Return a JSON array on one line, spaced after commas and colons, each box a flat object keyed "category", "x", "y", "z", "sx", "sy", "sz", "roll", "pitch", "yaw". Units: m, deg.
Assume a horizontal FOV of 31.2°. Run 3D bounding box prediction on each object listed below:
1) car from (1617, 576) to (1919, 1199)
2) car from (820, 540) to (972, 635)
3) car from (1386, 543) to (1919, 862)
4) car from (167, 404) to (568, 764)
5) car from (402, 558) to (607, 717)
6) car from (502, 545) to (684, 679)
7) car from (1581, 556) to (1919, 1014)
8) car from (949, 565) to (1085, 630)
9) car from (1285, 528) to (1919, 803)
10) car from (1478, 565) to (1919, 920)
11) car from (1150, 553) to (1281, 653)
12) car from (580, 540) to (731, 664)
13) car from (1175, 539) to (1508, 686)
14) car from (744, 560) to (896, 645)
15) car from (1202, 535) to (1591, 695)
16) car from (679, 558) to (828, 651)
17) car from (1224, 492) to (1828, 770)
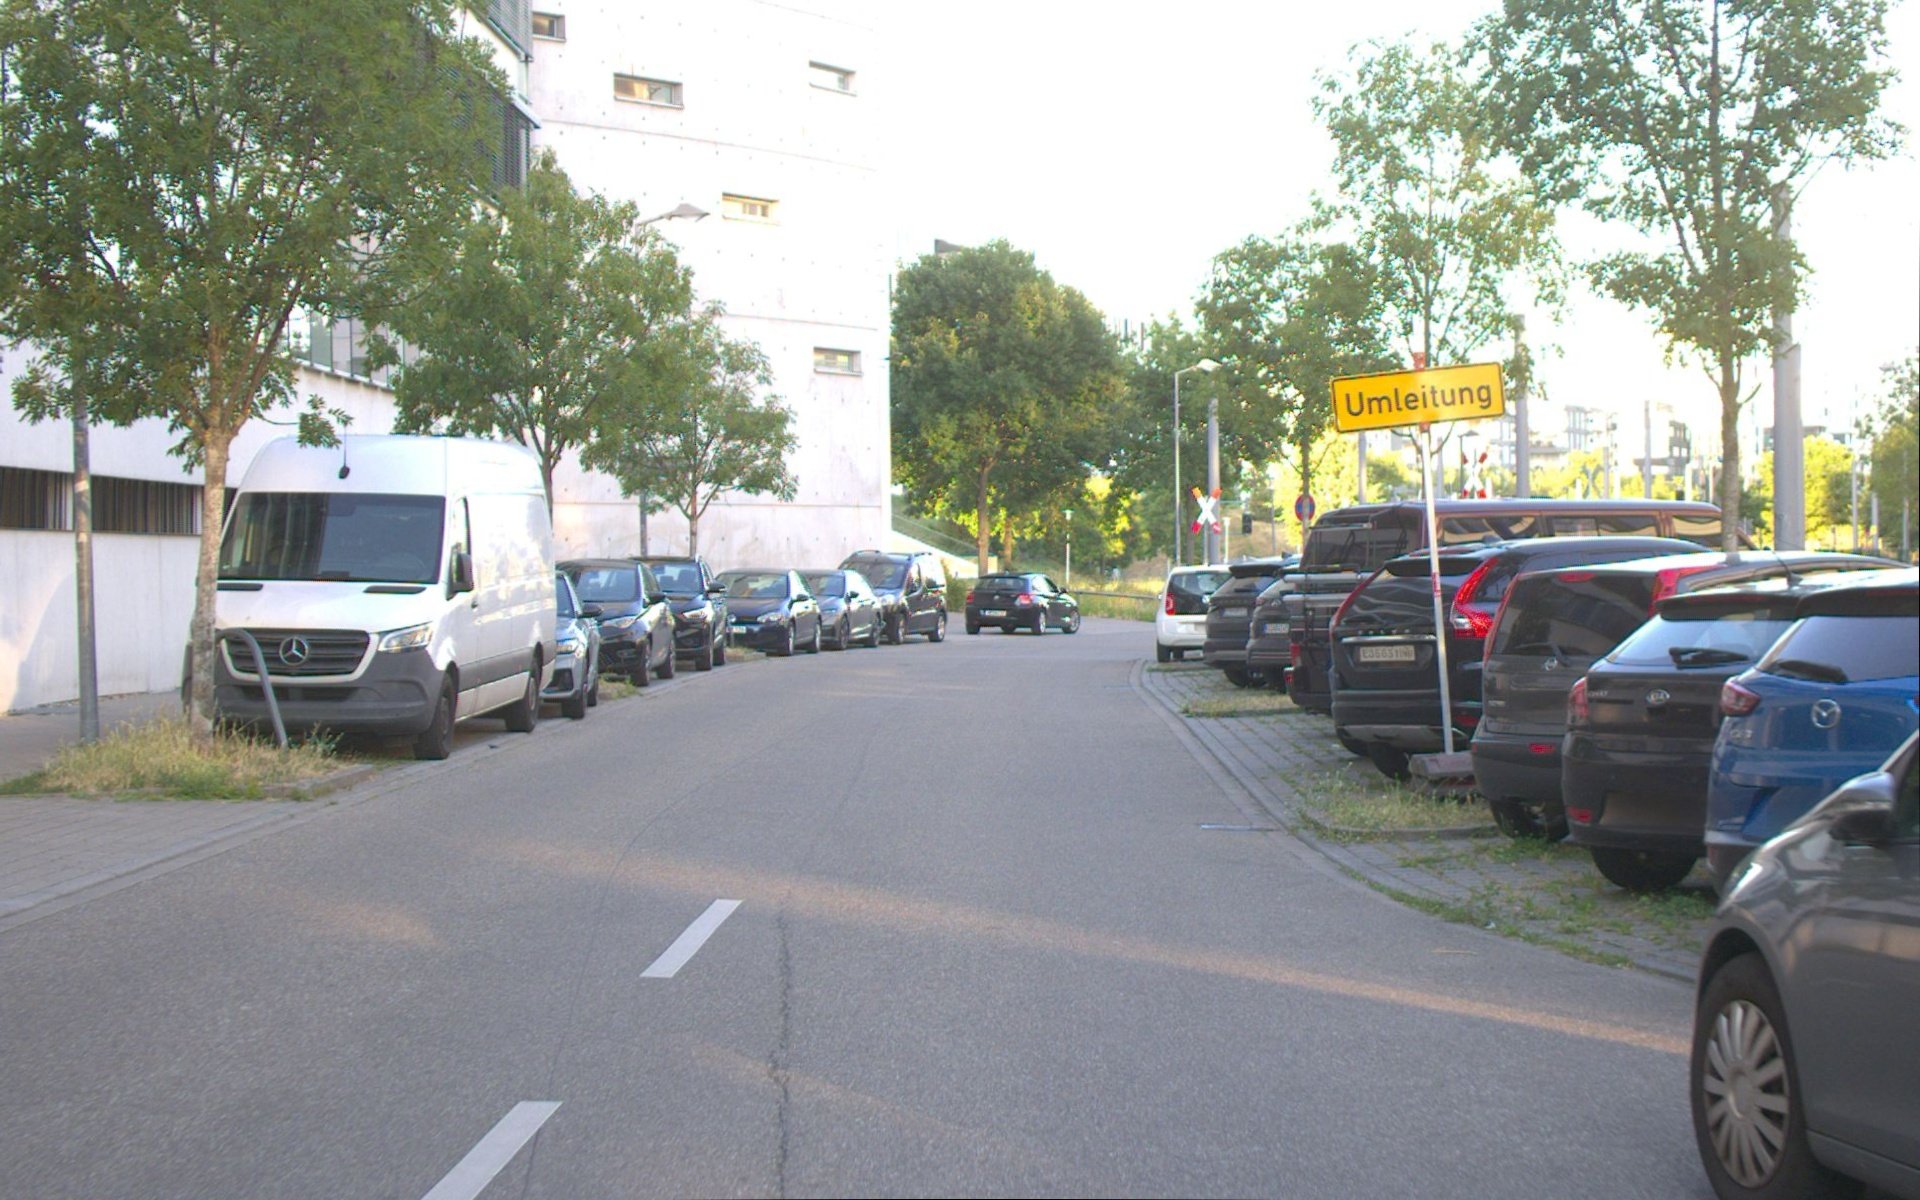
[{"category": "car", "x": 2.752, "y": 0.707, "z": 6.524, "sx": 1.731, "sy": 1.461, "sz": 4.001, "roll": 1, "pitch": 0, "yaw": -8}, {"category": "car", "x": -1.240, "y": -0.281, "z": 69.144, "sx": 1.758, "sy": 1.792, "sz": 4.460, "roll": 2, "pitch": 1, "yaw": 16}, {"category": "car", "x": 4.460, "y": 0.537, "z": 19.053, "sx": 3.987, "sy": 1.589, "sz": 1.737, "roll": 1, "pitch": 0, "yaw": -35}, {"category": "car", "x": -4.776, "y": -0.197, "z": 28.844, "sx": 1.958, "sy": 2.608, "sz": 6.892, "roll": 1, "pitch": 1, "yaw": 1}, {"category": "car", "x": -4.550, "y": 0.339, "z": 34.780, "sx": 1.755, "sy": 1.434, "sz": 3.902, "roll": 1, "pitch": 1, "yaw": -4}, {"category": "car", "x": -4.613, "y": 0.115, "z": 43.713, "sx": 1.756, "sy": 1.555, "sz": 4.043, "roll": 1, "pitch": 1, "yaw": 1}, {"category": "car", "x": 4.499, "y": 0.569, "z": 12.976, "sx": 3.987, "sy": 1.515, "sz": 1.928, "roll": -2, "pitch": 0, "yaw": -34}, {"category": "car", "x": 1.346, "y": -0.074, "z": 78.990, "sx": 1.946, "sy": 1.378, "sz": 4.395, "roll": 2, "pitch": 1, "yaw": 17}, {"category": "car", "x": 4.681, "y": 0.405, "z": 24.040, "sx": 4.588, "sy": 1.743, "sz": 1.871, "roll": 0, "pitch": 1, "yaw": -32}, {"category": "car", "x": 4.503, "y": 0.573, "z": 16.295, "sx": 3.988, "sy": 1.460, "sz": 1.736, "roll": -1, "pitch": 1, "yaw": -37}, {"category": "car", "x": 4.032, "y": 0.029, "z": 53.838, "sx": 1.723, "sy": 1.462, "sz": 3.551, "roll": -1, "pitch": 1, "yaw": 9}, {"category": "car", "x": -4.342, "y": -0.001, "z": 49.451, "sx": 1.756, "sy": 1.648, "sz": 3.949, "roll": 1, "pitch": 1, "yaw": 0}, {"category": "car", "x": 4.716, "y": 0.143, "z": 42.431, "sx": 3.766, "sy": 1.720, "sz": 1.764, "roll": 0, "pitch": 1, "yaw": -31}, {"category": "car", "x": -2.558, "y": 0.013, "z": 63.915, "sx": 1.723, "sy": 1.452, "sz": 4.691, "roll": 2, "pitch": 1, "yaw": 11}, {"category": "car", "x": 5.036, "y": 0.158, "z": 39.662, "sx": 3.973, "sy": 1.634, "sz": 1.973, "roll": -3, "pitch": 1, "yaw": -26}, {"category": "car", "x": -3.472, "y": 0.043, "z": 58.499, "sx": 1.723, "sy": 1.452, "sz": 4.270, "roll": 2, "pitch": 1, "yaw": 7}, {"category": "car", "x": 4.506, "y": 0.203, "z": 27.144, "sx": 4.588, "sy": 2.028, "sz": 1.871, "roll": 0, "pitch": 1, "yaw": -32}]
